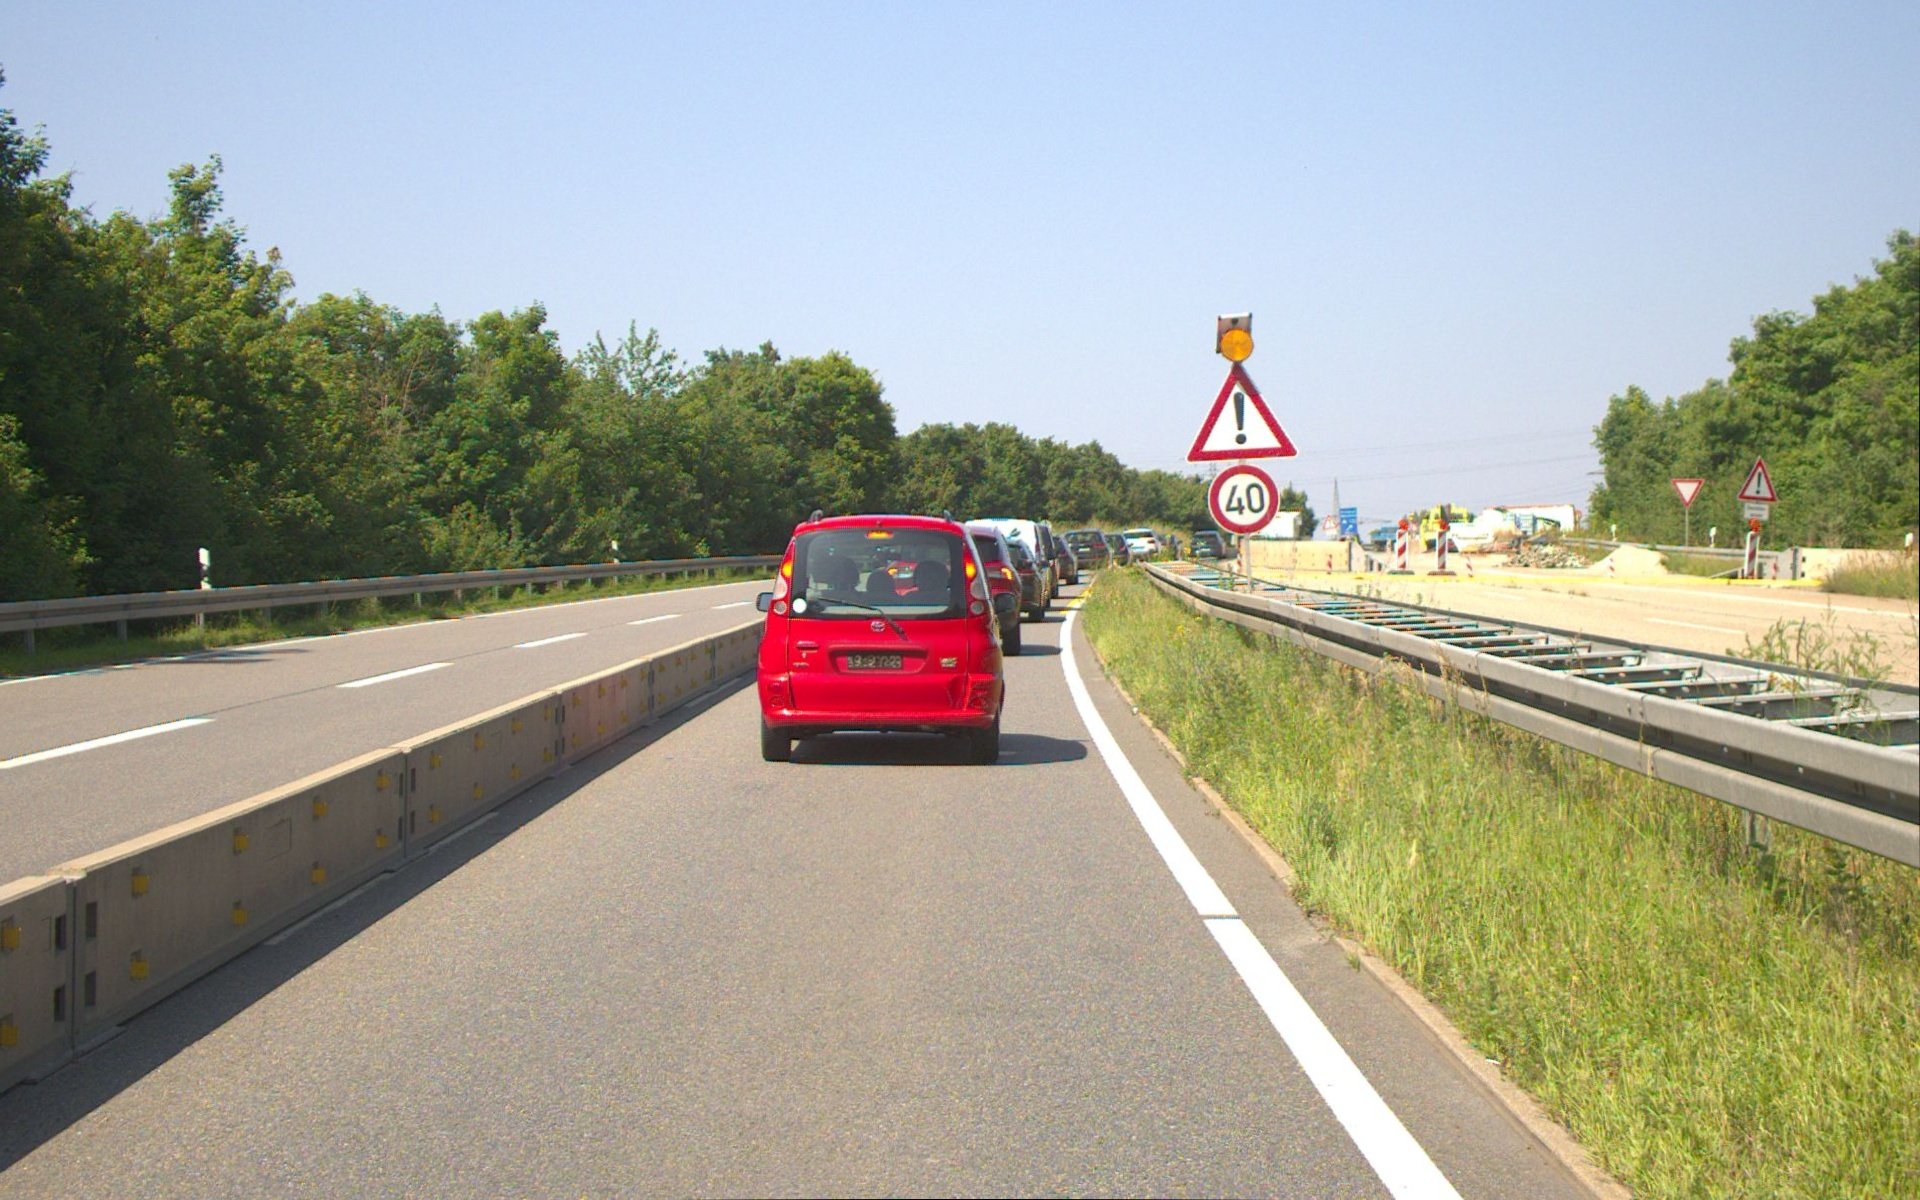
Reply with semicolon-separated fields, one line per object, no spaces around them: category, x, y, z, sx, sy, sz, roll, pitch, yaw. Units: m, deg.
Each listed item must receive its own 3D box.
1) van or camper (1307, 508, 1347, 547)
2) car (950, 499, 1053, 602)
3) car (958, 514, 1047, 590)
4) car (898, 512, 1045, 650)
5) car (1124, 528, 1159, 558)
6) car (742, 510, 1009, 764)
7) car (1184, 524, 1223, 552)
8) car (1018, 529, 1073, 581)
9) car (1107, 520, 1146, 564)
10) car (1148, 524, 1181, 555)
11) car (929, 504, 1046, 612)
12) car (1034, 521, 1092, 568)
van or camper;25.794;-5.058;241.730;2.328;2.697;4.593;-1;1;0
car;0.811;-1.006;69.615;1.993;1.997;4.000;1;1;0
car;0.995;-1.153;82.035;1.993;1.744;4.000;0;1;-1
car;0.164;-0.280;44.962;1.830;1.716;4.000;0;1;1
car;8.032;-2.517;152.035;1.421;1.294;2.878;0;1;5
car;-0.602;0.208;24.572;1.751;1.667;4.000;0;1;-1
car;13.578;-3.447;191.730;1.993;1.546;4.000;0;1;2
car;2.452;-1.300;97.797;1.502;1.446;3.325;0;1;2
car;6.578;-2.309;136.053;1.502;1.730;3.170;0;1;3
car;9.978;-2.949;167.914;1.502;1.446;3.169;-1;1;5
car;0.511;-0.746;60.681;1.993;1.831;4.000;0;1;1
car;3.624;-1.952;120.546;1.993;1.579;4.000;0;1;2
